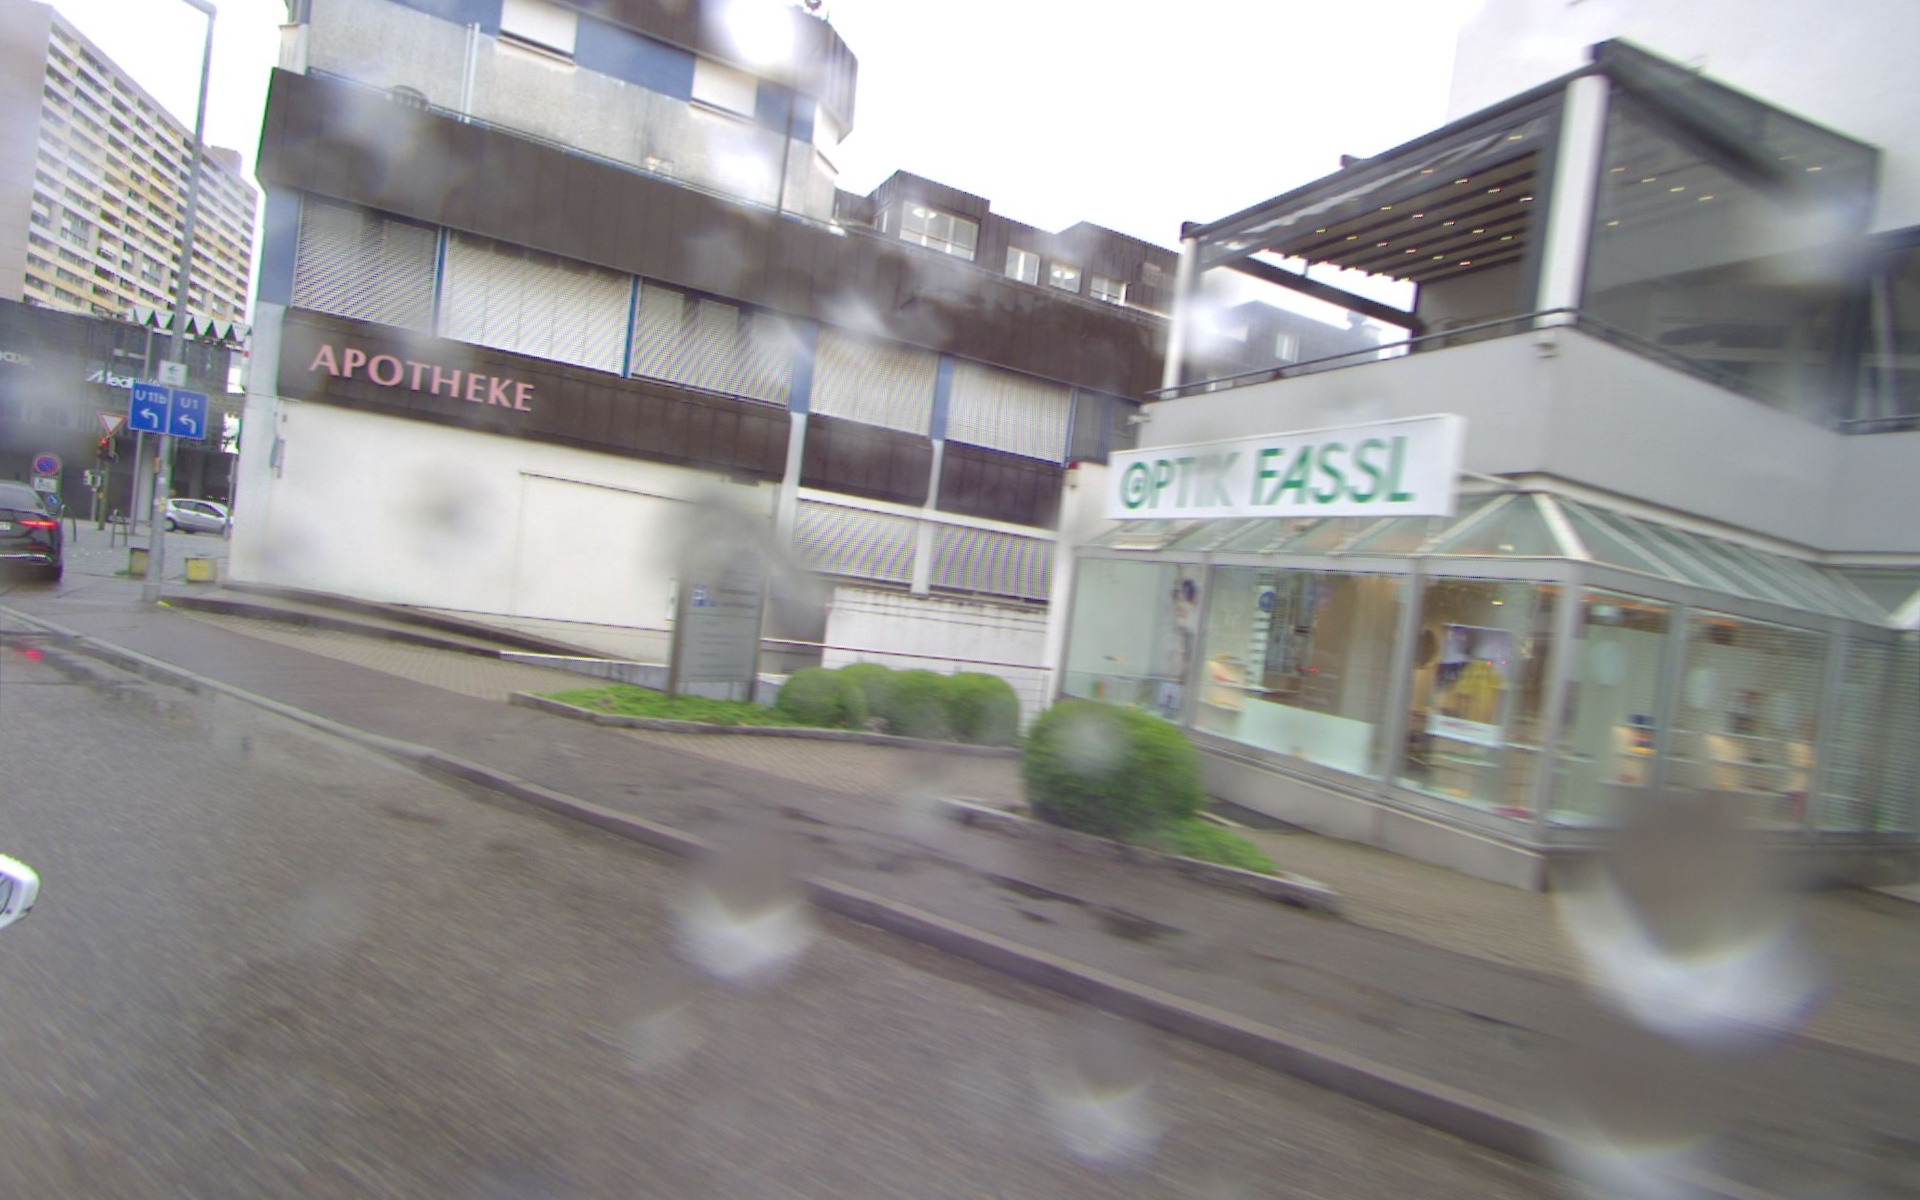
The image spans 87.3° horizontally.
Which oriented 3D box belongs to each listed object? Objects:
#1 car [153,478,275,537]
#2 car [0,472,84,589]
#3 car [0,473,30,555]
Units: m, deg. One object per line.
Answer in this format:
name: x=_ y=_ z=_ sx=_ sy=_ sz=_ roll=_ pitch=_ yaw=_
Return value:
car: x=-34.556 y=-4.255 z=46.703 sx=3.933 sy=2.039 sz=1.996 roll=7 pitch=1 yaw=-10
car: x=-15.183 y=-1.194 z=15.537 sx=4.586 sy=1.552 sz=1.990 roll=6 pitch=-1 yaw=44
car: x=-20.126 y=-1.853 z=20.295 sx=3.945 sy=1.506 sz=1.692 roll=8 pitch=4 yaw=43
